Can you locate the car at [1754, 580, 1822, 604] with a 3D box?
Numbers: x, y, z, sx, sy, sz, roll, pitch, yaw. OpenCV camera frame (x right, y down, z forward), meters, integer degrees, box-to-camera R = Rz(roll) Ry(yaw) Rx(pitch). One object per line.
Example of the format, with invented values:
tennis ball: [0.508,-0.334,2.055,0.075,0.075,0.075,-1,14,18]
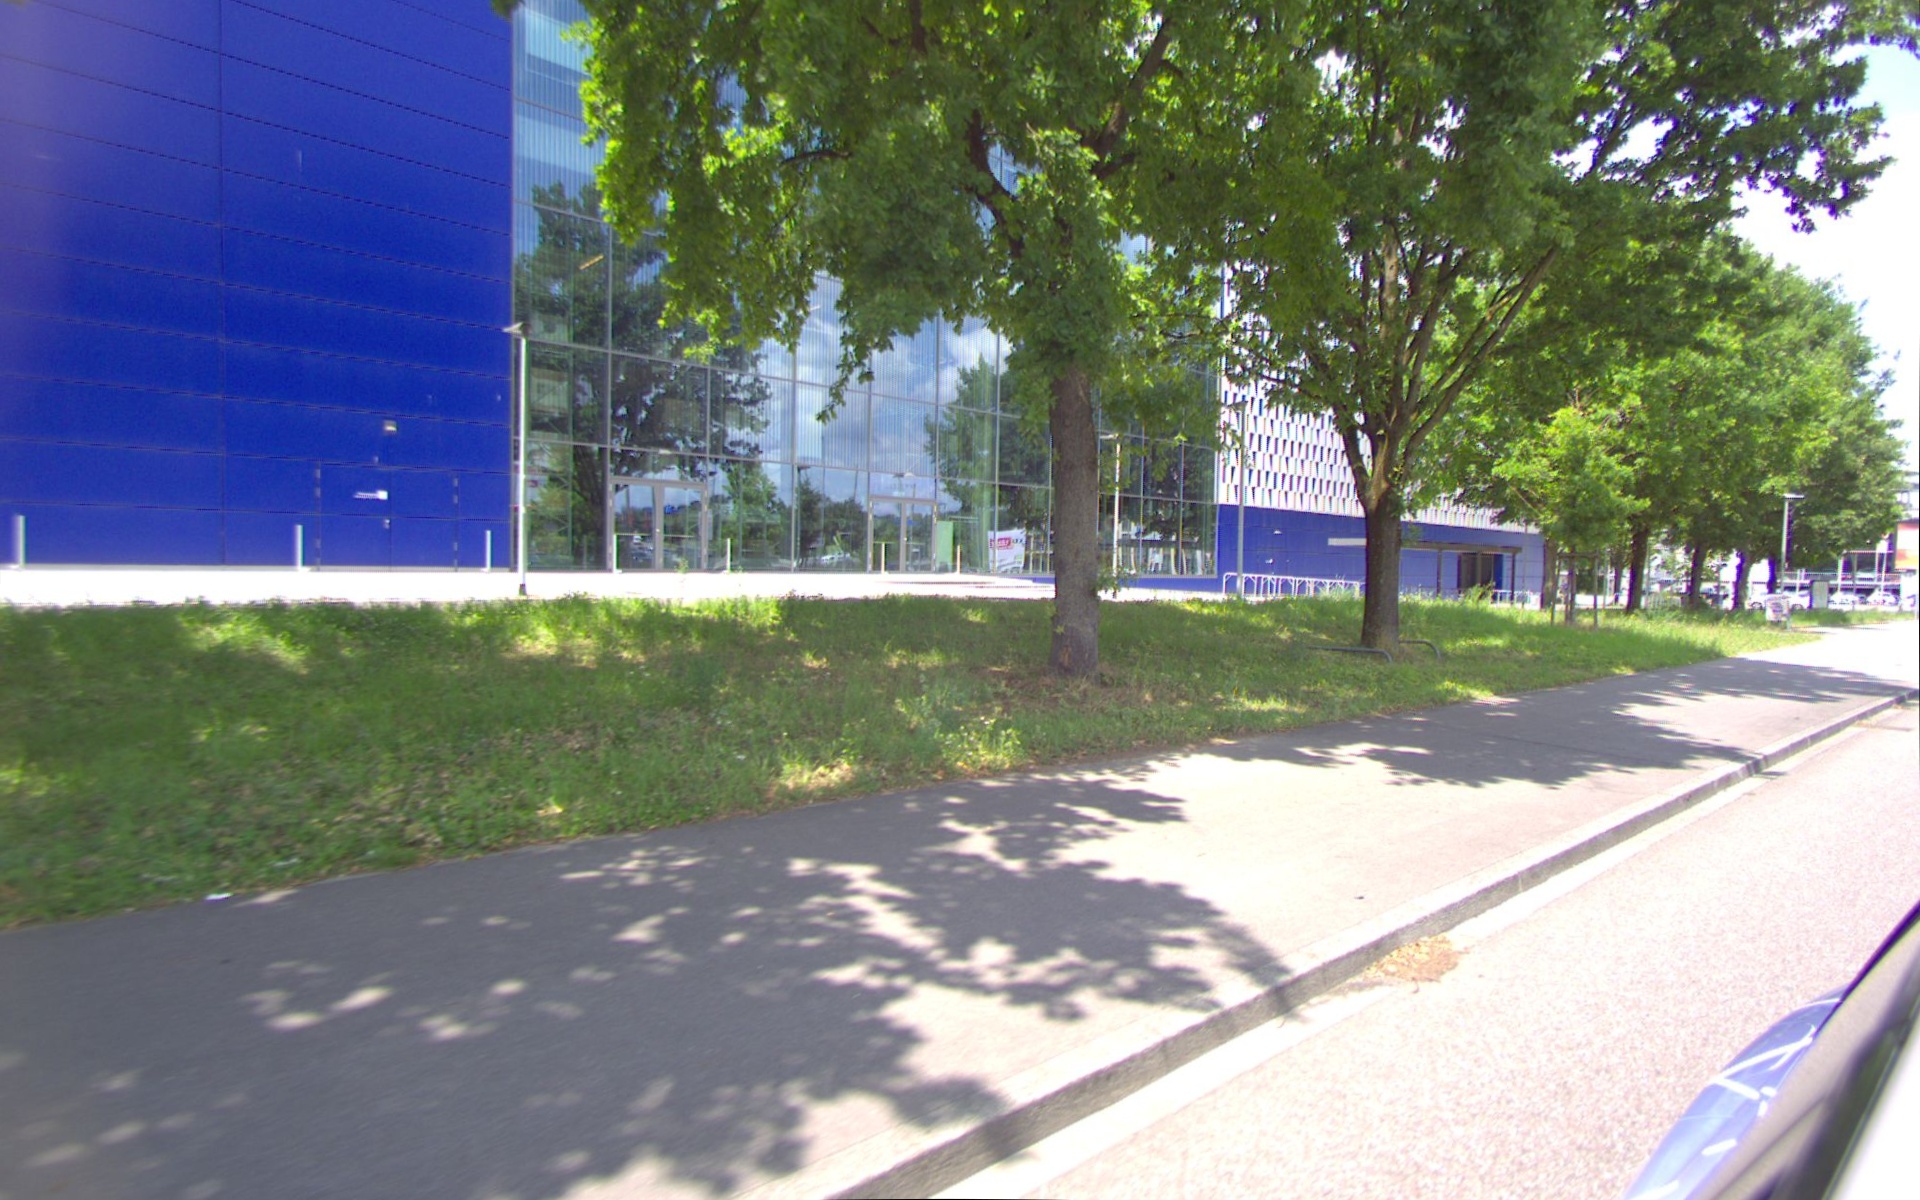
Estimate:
car: [65.451,-0.627,80.008,3.989,1.712,1.828,4,3,45]

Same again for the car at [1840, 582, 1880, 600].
car: [85.132,-0.848,95.727,3.923,1.593,1.844,1,2,-34]
